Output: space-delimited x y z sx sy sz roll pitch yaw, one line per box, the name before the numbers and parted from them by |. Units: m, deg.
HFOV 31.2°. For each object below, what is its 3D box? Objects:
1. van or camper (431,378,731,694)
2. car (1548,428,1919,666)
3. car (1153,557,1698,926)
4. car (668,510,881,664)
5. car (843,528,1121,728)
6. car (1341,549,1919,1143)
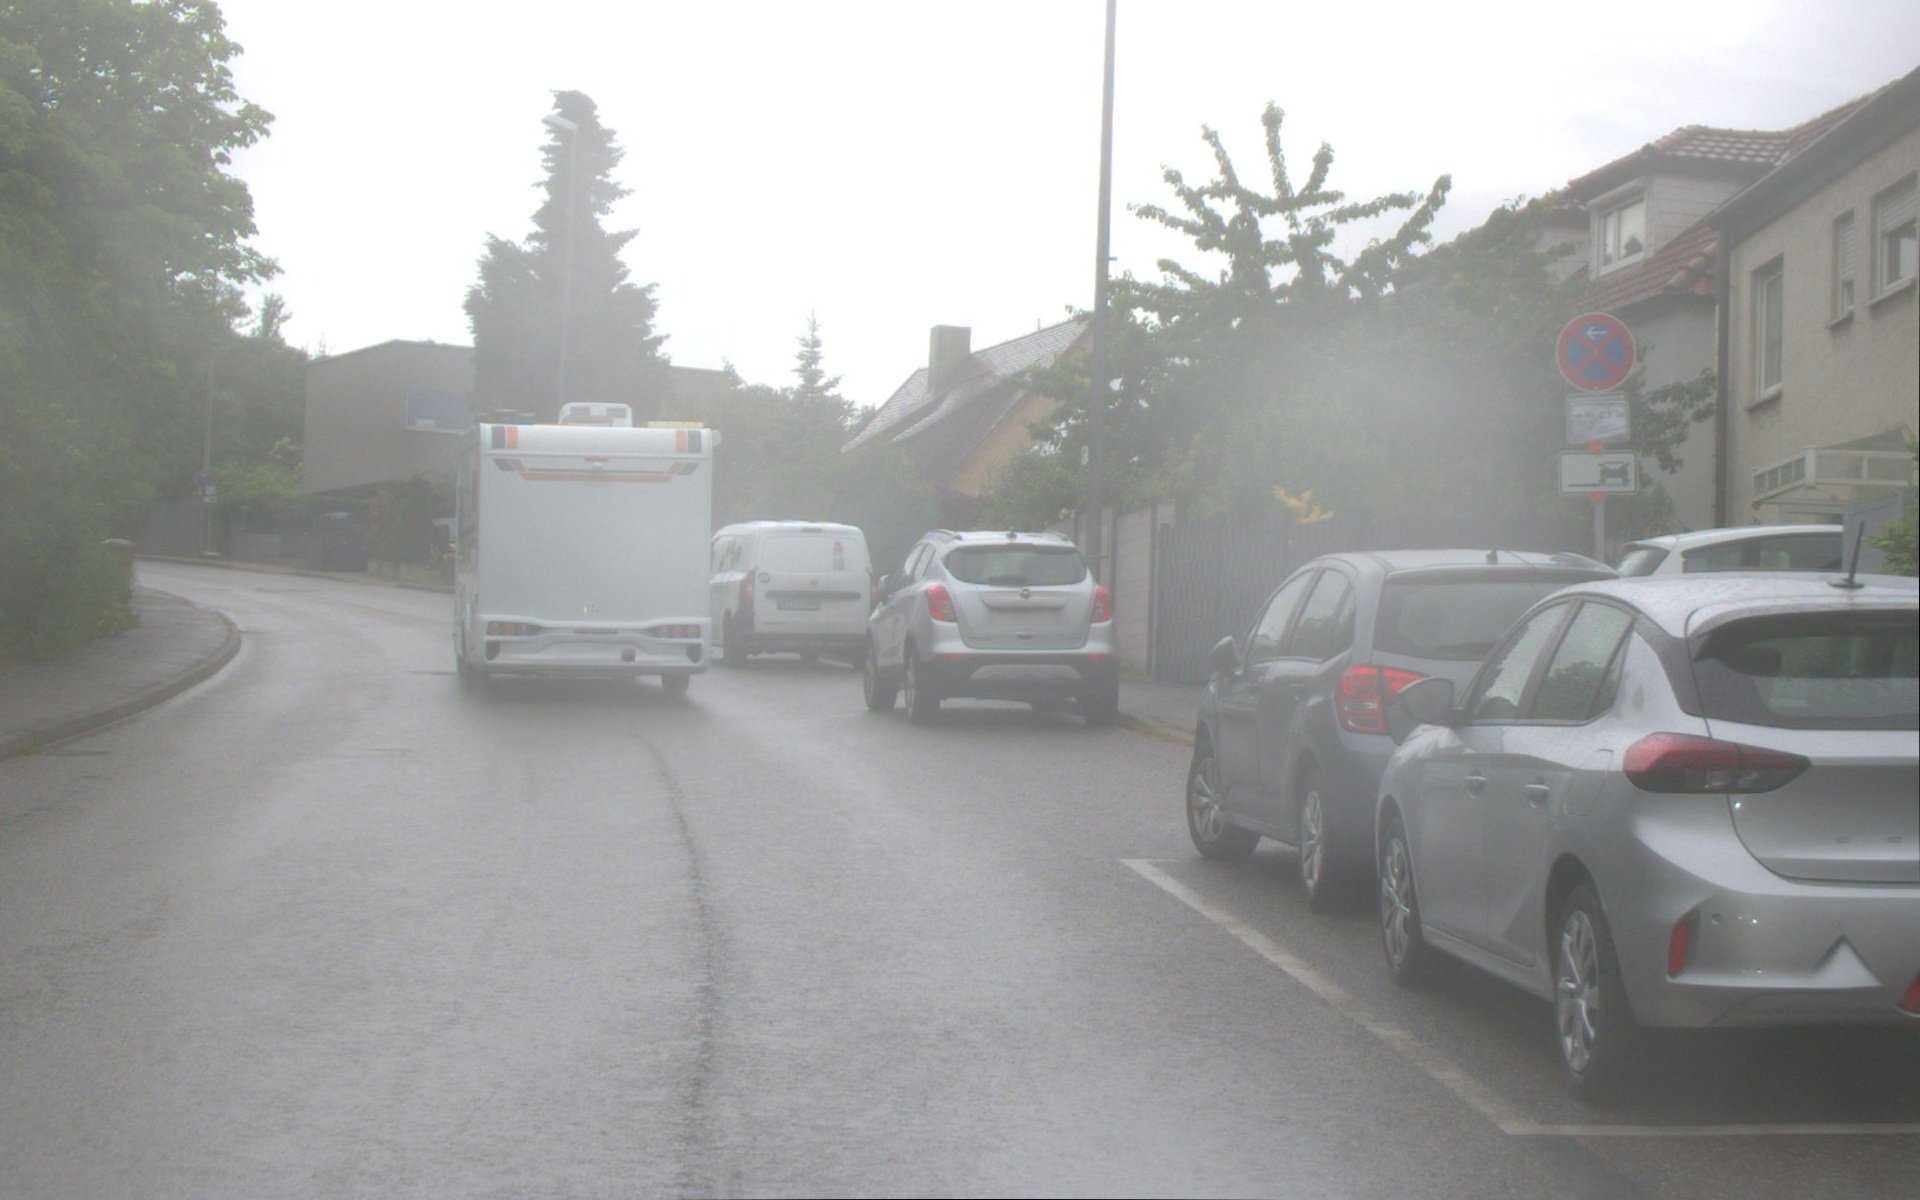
van or camper | -3.997 -0.636 35.231 2.539 2.915 5.950 1 1 -11
car | 6.455 -0.338 24.853 3.986 1.584 1.935 2 0 -3
car | 2.028 0.555 16.018 1.659 1.462 3.764 -1 1 -6
car | -2.396 -0.189 43.286 1.778 1.797 4.709 1 1 -14
car | 0.117 0.188 30.523 1.804 1.621 4.289 -1 1 -9
car | 2.416 0.590 10.838 1.768 1.462 4.235 -1 1 -3
